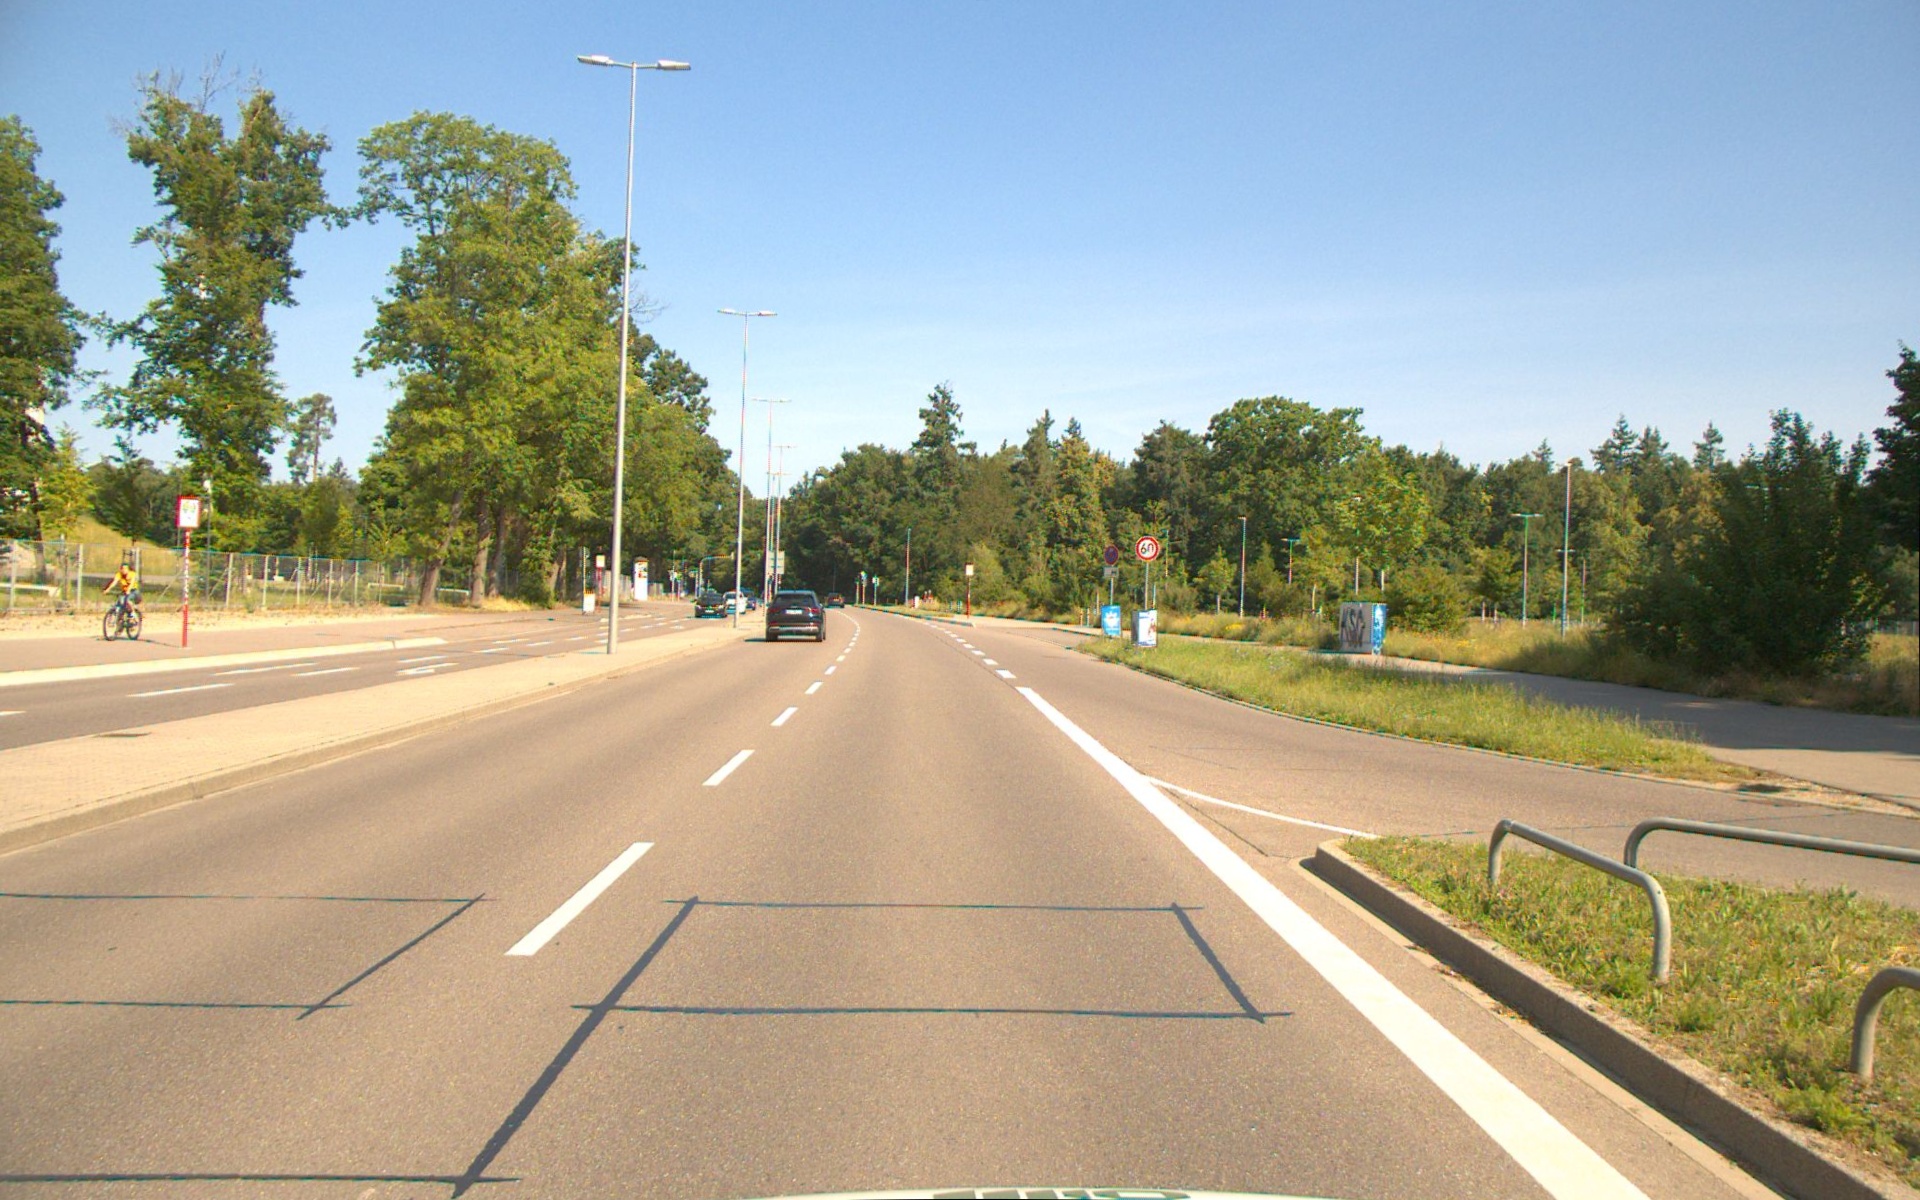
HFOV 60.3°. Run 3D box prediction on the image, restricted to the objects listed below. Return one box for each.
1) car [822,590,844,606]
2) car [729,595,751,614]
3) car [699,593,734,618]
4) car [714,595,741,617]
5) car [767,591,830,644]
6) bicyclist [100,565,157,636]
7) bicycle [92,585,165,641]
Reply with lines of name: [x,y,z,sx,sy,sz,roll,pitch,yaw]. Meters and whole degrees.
car: [-12.550,-0.196,163.126,1.904,1.445,4.287,2,0,-7]
car: [-17.726,0.373,133.193,1.720,1.512,3.941,0,0,-7]
car: [-14.287,0.319,97.290,1.775,1.412,4.157,-1,0,-5]
car: [-16.073,0.385,114.325,1.591,1.492,3.797,0,0,-5]
car: [-5.086,0.527,52.589,1.653,1.571,4.147,1,0,-1]
bicyclist: [-18.187,0.002,36.187,0.646,1.493,1.057,3,0,-2]
bicycle: [-18.220,0.267,36.301,0.646,1.155,1.878,3,0,-2]
